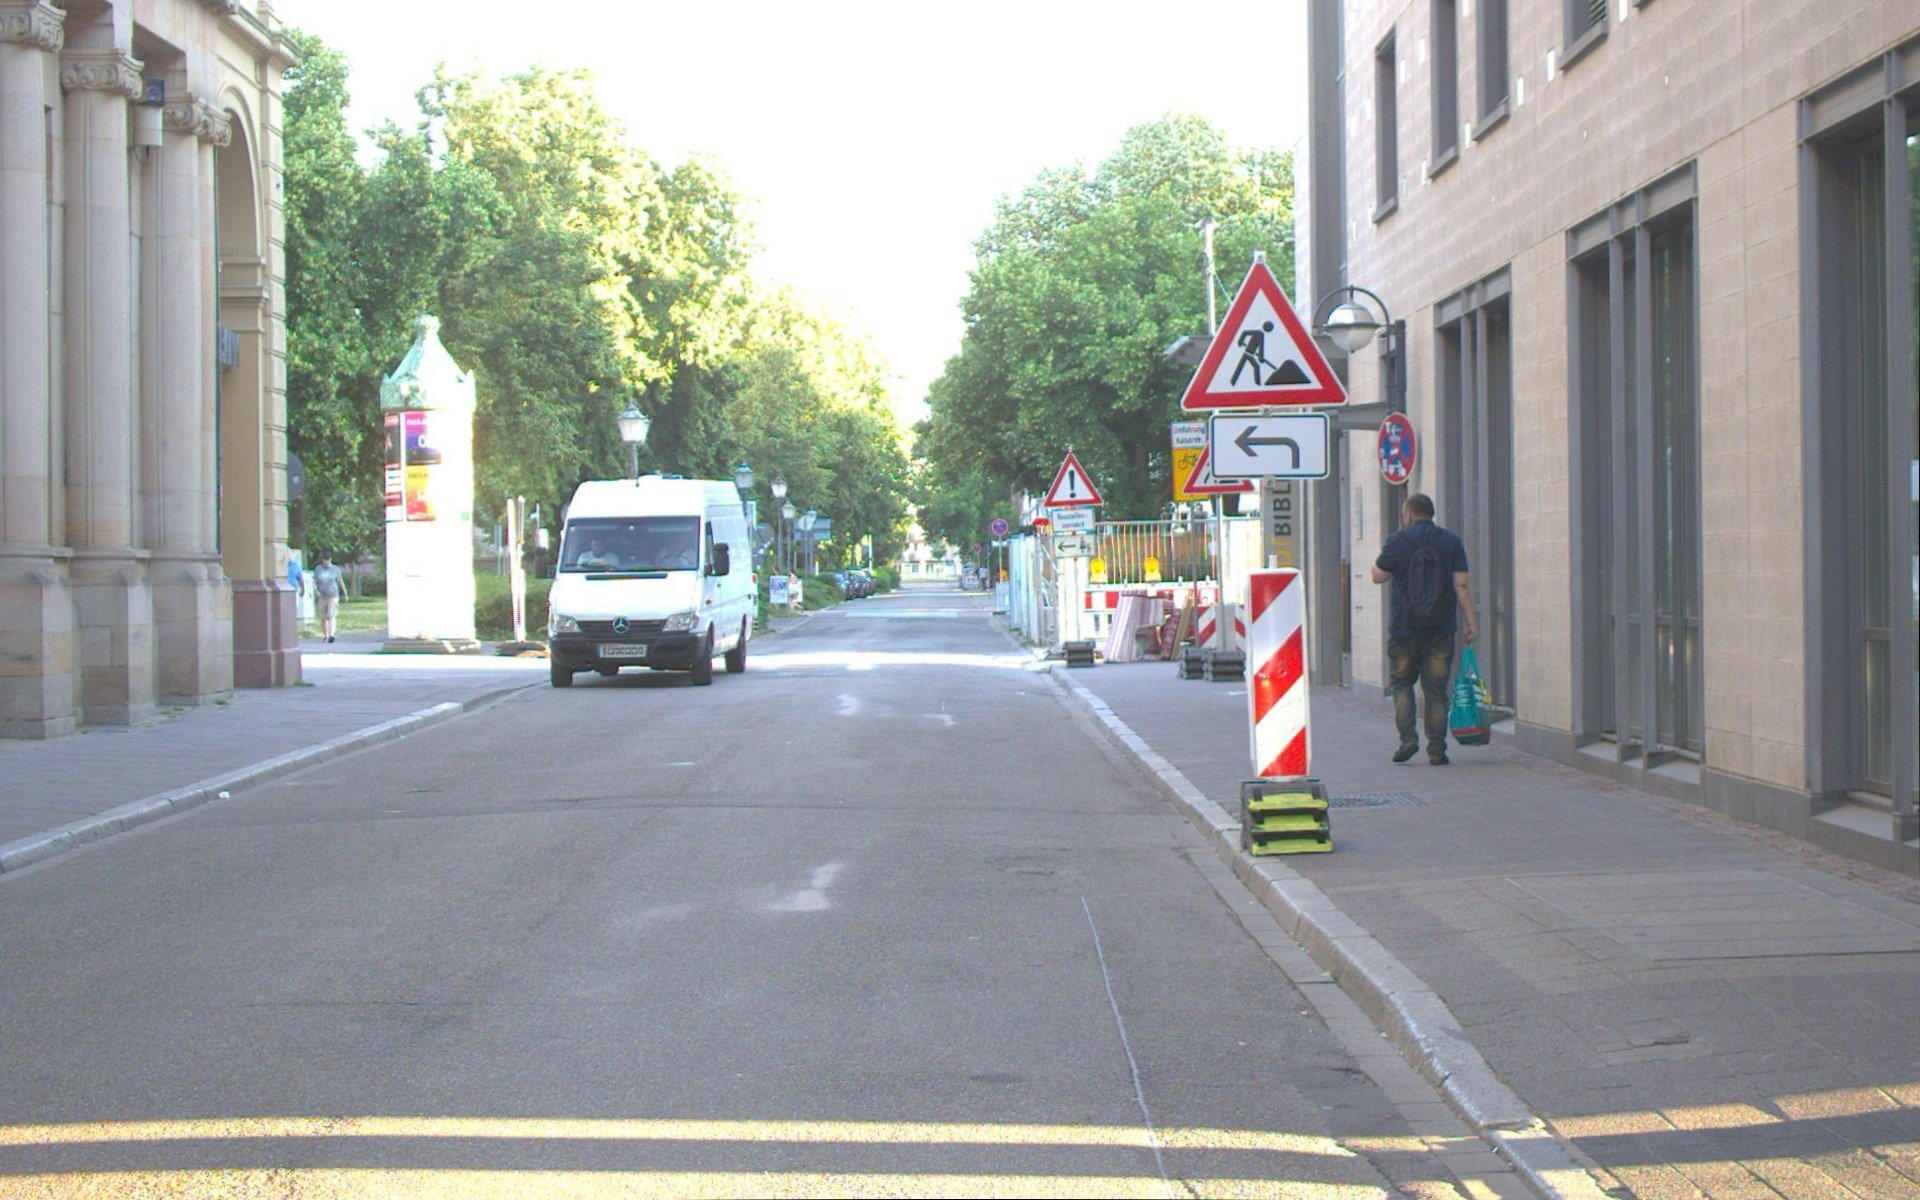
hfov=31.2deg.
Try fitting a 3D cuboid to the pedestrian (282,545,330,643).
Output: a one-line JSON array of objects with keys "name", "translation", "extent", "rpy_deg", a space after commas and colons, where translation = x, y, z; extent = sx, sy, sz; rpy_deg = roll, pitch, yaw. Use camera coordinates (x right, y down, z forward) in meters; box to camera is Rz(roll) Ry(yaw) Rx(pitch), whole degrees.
[{"name": "pedestrian", "translation": [-12.094, -0.113, 63.548], "extent": [0.849, 1.801, 0.664], "rpy_deg": [0, 1, -13]}]

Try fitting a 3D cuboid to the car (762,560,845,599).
[{"name": "car", "translation": [-7.314, -0.963, 160.985], "extent": [3.564, 1.777, 1.789], "rpy_deg": [-1, 0, 9]}]

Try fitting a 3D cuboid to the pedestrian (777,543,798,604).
[{"name": "pedestrian", "translation": [-5.739, -0.875, 114.342], "extent": [0.609, 2.007, 0.905], "rpy_deg": [0, 1, -8]}]

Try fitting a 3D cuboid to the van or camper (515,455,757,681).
[{"name": "van or camper", "translation": [-3.904, -0.423, 42.568], "extent": [2.219, 2.576, 6.372], "rpy_deg": [0, 1, 1]}]

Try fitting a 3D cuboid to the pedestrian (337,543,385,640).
[{"name": "pedestrian", "translation": [-11.127, -0.161, 63.822], "extent": [0.849, 1.801, 0.664], "rpy_deg": [0, 1, -13]}]

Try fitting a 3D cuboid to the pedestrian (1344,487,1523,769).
[{"name": "pedestrian", "translation": [3.121, 0.180, 22.748], "extent": [1.000, 1.797, 0.882], "rpy_deg": [-2, 0, -1]}]
